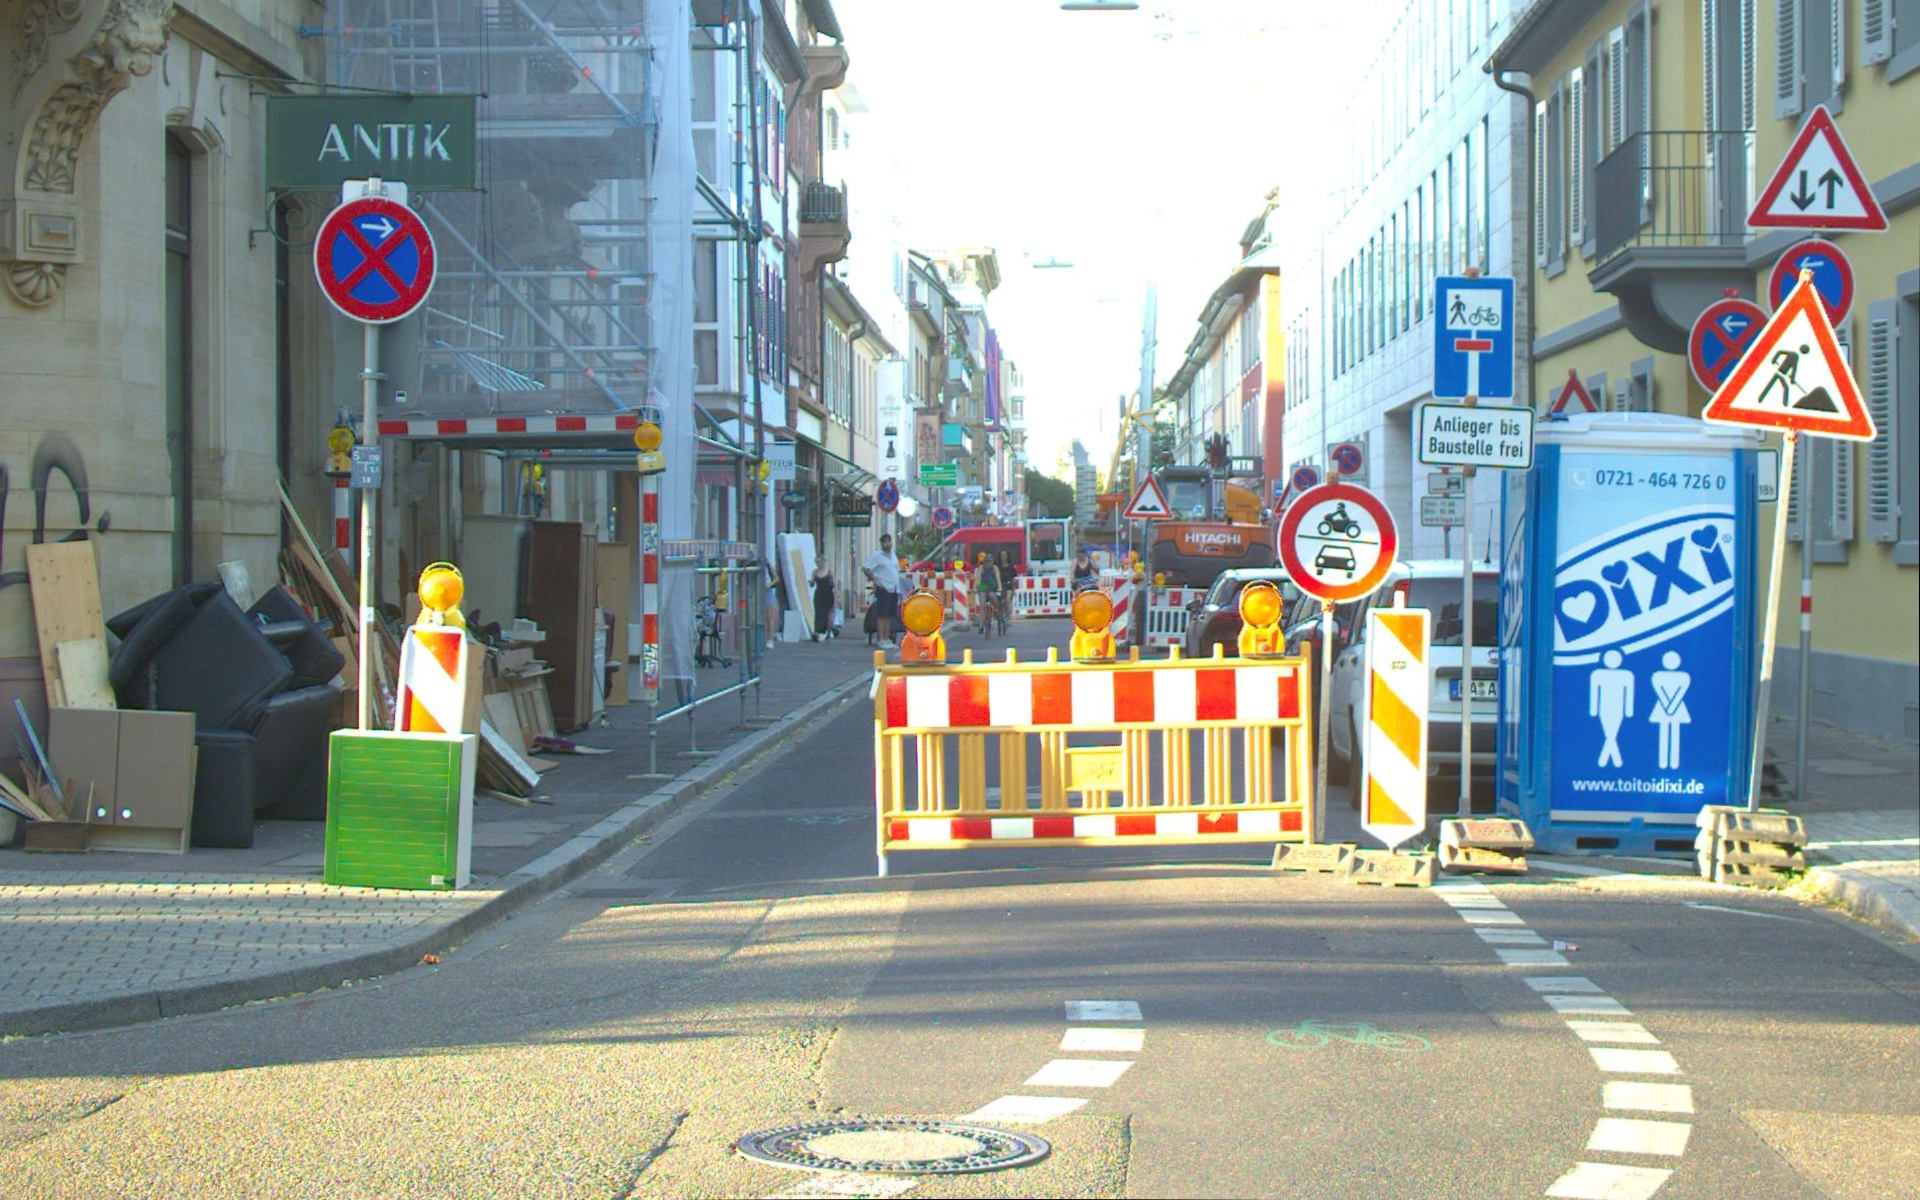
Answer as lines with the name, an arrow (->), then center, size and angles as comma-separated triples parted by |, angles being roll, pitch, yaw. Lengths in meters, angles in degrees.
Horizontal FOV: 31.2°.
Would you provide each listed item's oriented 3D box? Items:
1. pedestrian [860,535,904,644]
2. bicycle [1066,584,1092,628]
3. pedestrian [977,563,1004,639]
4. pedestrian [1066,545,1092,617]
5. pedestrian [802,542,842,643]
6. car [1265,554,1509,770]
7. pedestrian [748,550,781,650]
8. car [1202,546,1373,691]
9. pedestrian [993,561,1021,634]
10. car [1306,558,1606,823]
pedestrian -> -1.262, -0.171, 55.598 | 0.504, 1.758, 0.512 | -1, 1, -39
bicycle -> 2.420, 0.118, 69.987 | 0.504, 0.881, 1.477 | 0, 1, 2
pedestrian -> 0.586, 0.022, 66.143 | 0.504, 1.456, 0.512 | 0, 1, 2
pedestrian -> 2.417, -0.385, 69.885 | 0.504, 1.456, 0.512 | 0, 1, 3
pedestrian -> -2.370, -0.134, 59.109 | 0.676, 1.727, 0.700 | 0, 0, -1
car -> 3.221, 0.418, 26.506 | 1.540, 1.515, 3.979 | 0, 1, 2
pedestrian -> -3.060, -0.005, 53.866 | 0.343, 1.561, 0.420 | 0, 0, 24
car -> 3.591, 0.173, 38.130 | 1.718, 1.515, 3.221 | 0, 1, 2
pedestrian -> 0.946, -0.054, 69.136 | 0.504, 1.456, 0.512 | 0, 1, 8
car -> 3.082, 0.512, 21.862 | 1.540, 1.515, 3.221 | 1, 1, 2
